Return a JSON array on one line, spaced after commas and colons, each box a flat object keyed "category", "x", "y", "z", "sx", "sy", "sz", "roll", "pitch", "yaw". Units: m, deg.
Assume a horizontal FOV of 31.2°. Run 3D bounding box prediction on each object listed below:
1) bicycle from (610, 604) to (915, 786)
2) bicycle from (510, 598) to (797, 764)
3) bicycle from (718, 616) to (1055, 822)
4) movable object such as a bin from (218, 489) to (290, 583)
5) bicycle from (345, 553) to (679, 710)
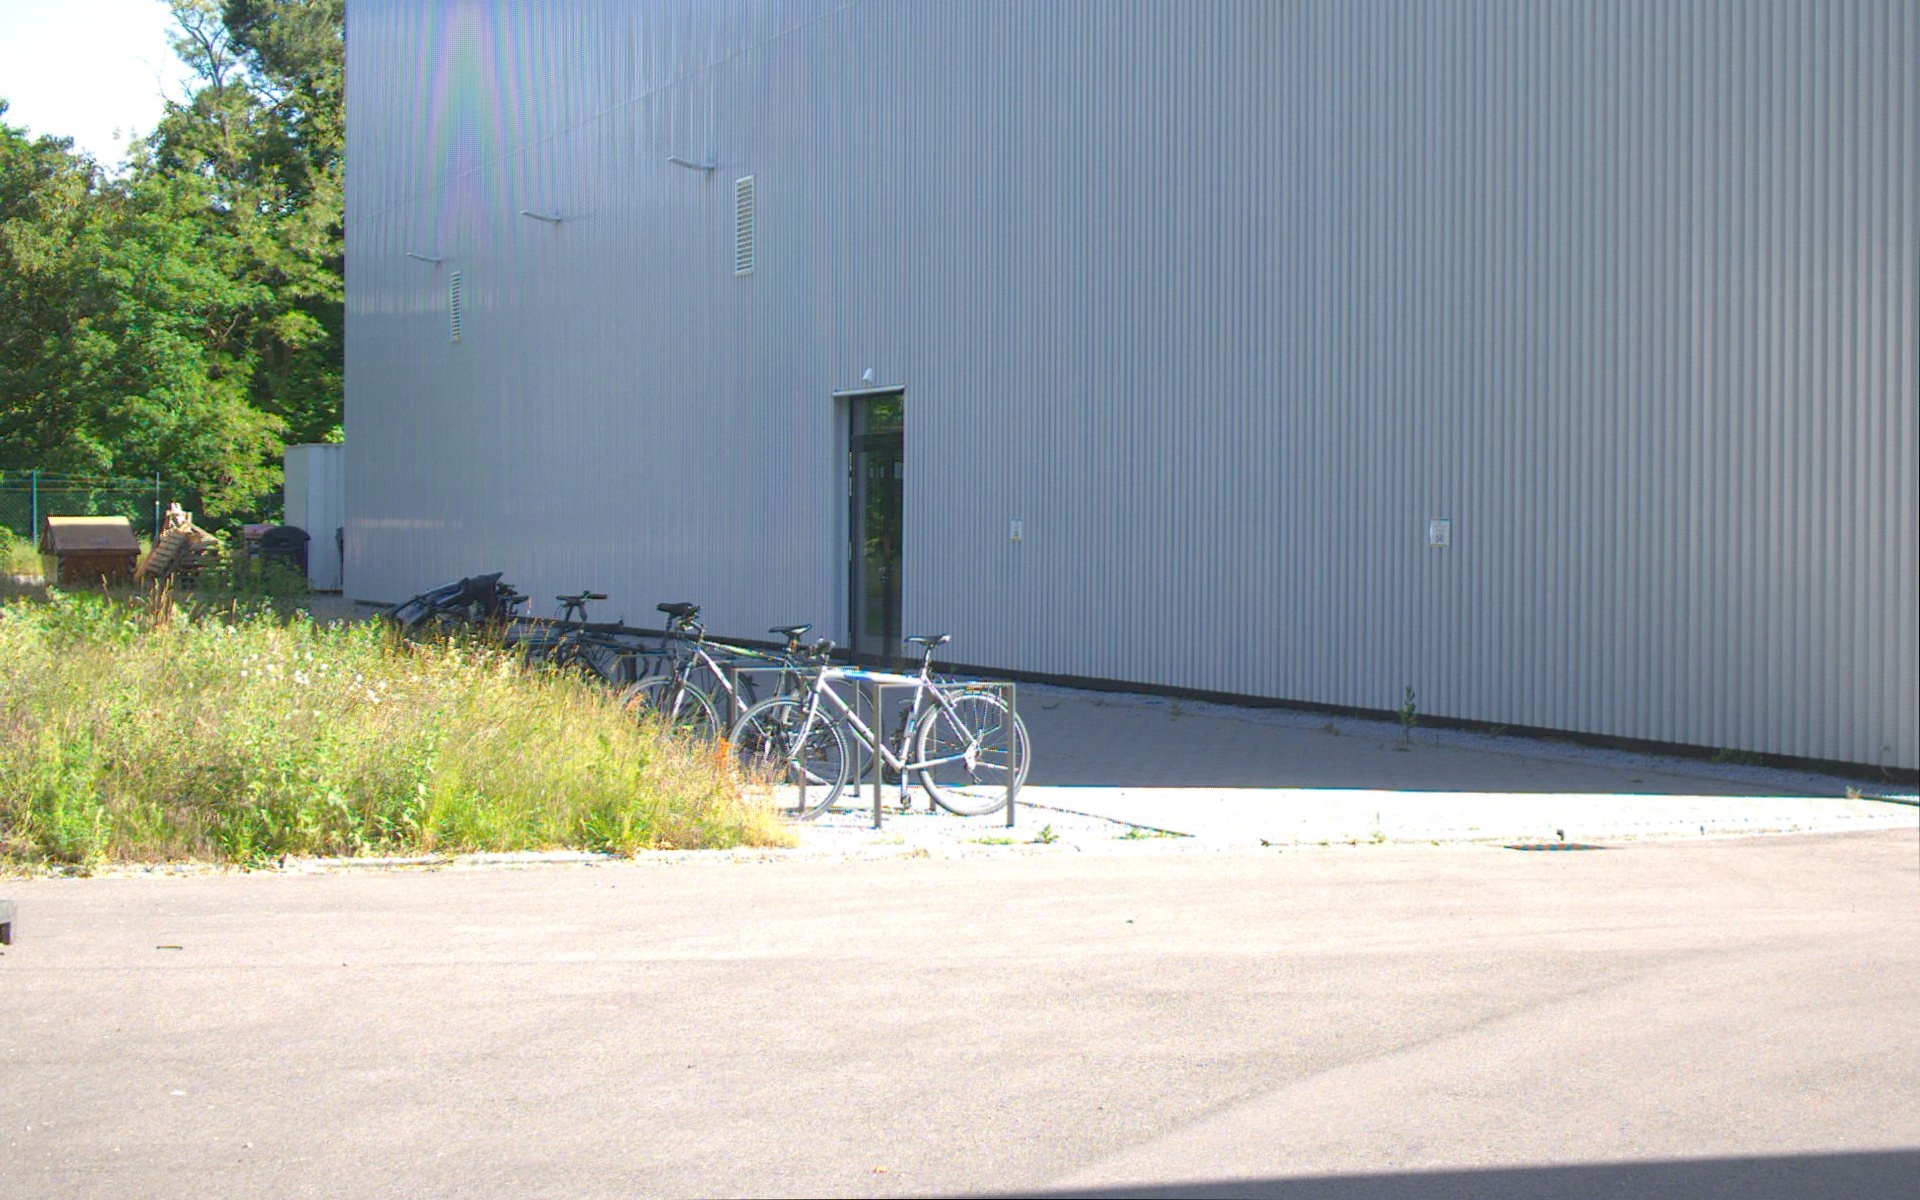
[{"category": "bicycle", "x": -1.211, "y": 0.569, "z": 21.115, "sx": 1.791, "sy": 1.079, "sz": 0.525, "roll": 0, "pitch": 1, "yaw": -19}, {"category": "bicycle", "x": -2.092, "y": 0.541, "z": 23.511, "sx": 1.887, "sy": 1.091, "sz": 0.526, "roll": 0, "pitch": 1, "yaw": -22}, {"category": "bicycle", "x": -0.391, "y": 0.629, "z": 18.676, "sx": 1.799, "sy": 1.058, "sz": 0.459, "roll": 0, "pitch": 1, "yaw": -26}, {"category": "movable object such as a bin", "x": -15.144, "y": -1.371, "z": 73.697, "sx": 1.418, "sy": 2.007, "sz": 1.125, "roll": 0, "pitch": 1, "yaw": -16}, {"category": "bicycle", "x": -3.776, "y": 0.251, "z": 28.884, "sx": 2.629, "sy": 1.262, "sz": 1.141, "roll": 0, "pitch": 1, "yaw": -16}]
